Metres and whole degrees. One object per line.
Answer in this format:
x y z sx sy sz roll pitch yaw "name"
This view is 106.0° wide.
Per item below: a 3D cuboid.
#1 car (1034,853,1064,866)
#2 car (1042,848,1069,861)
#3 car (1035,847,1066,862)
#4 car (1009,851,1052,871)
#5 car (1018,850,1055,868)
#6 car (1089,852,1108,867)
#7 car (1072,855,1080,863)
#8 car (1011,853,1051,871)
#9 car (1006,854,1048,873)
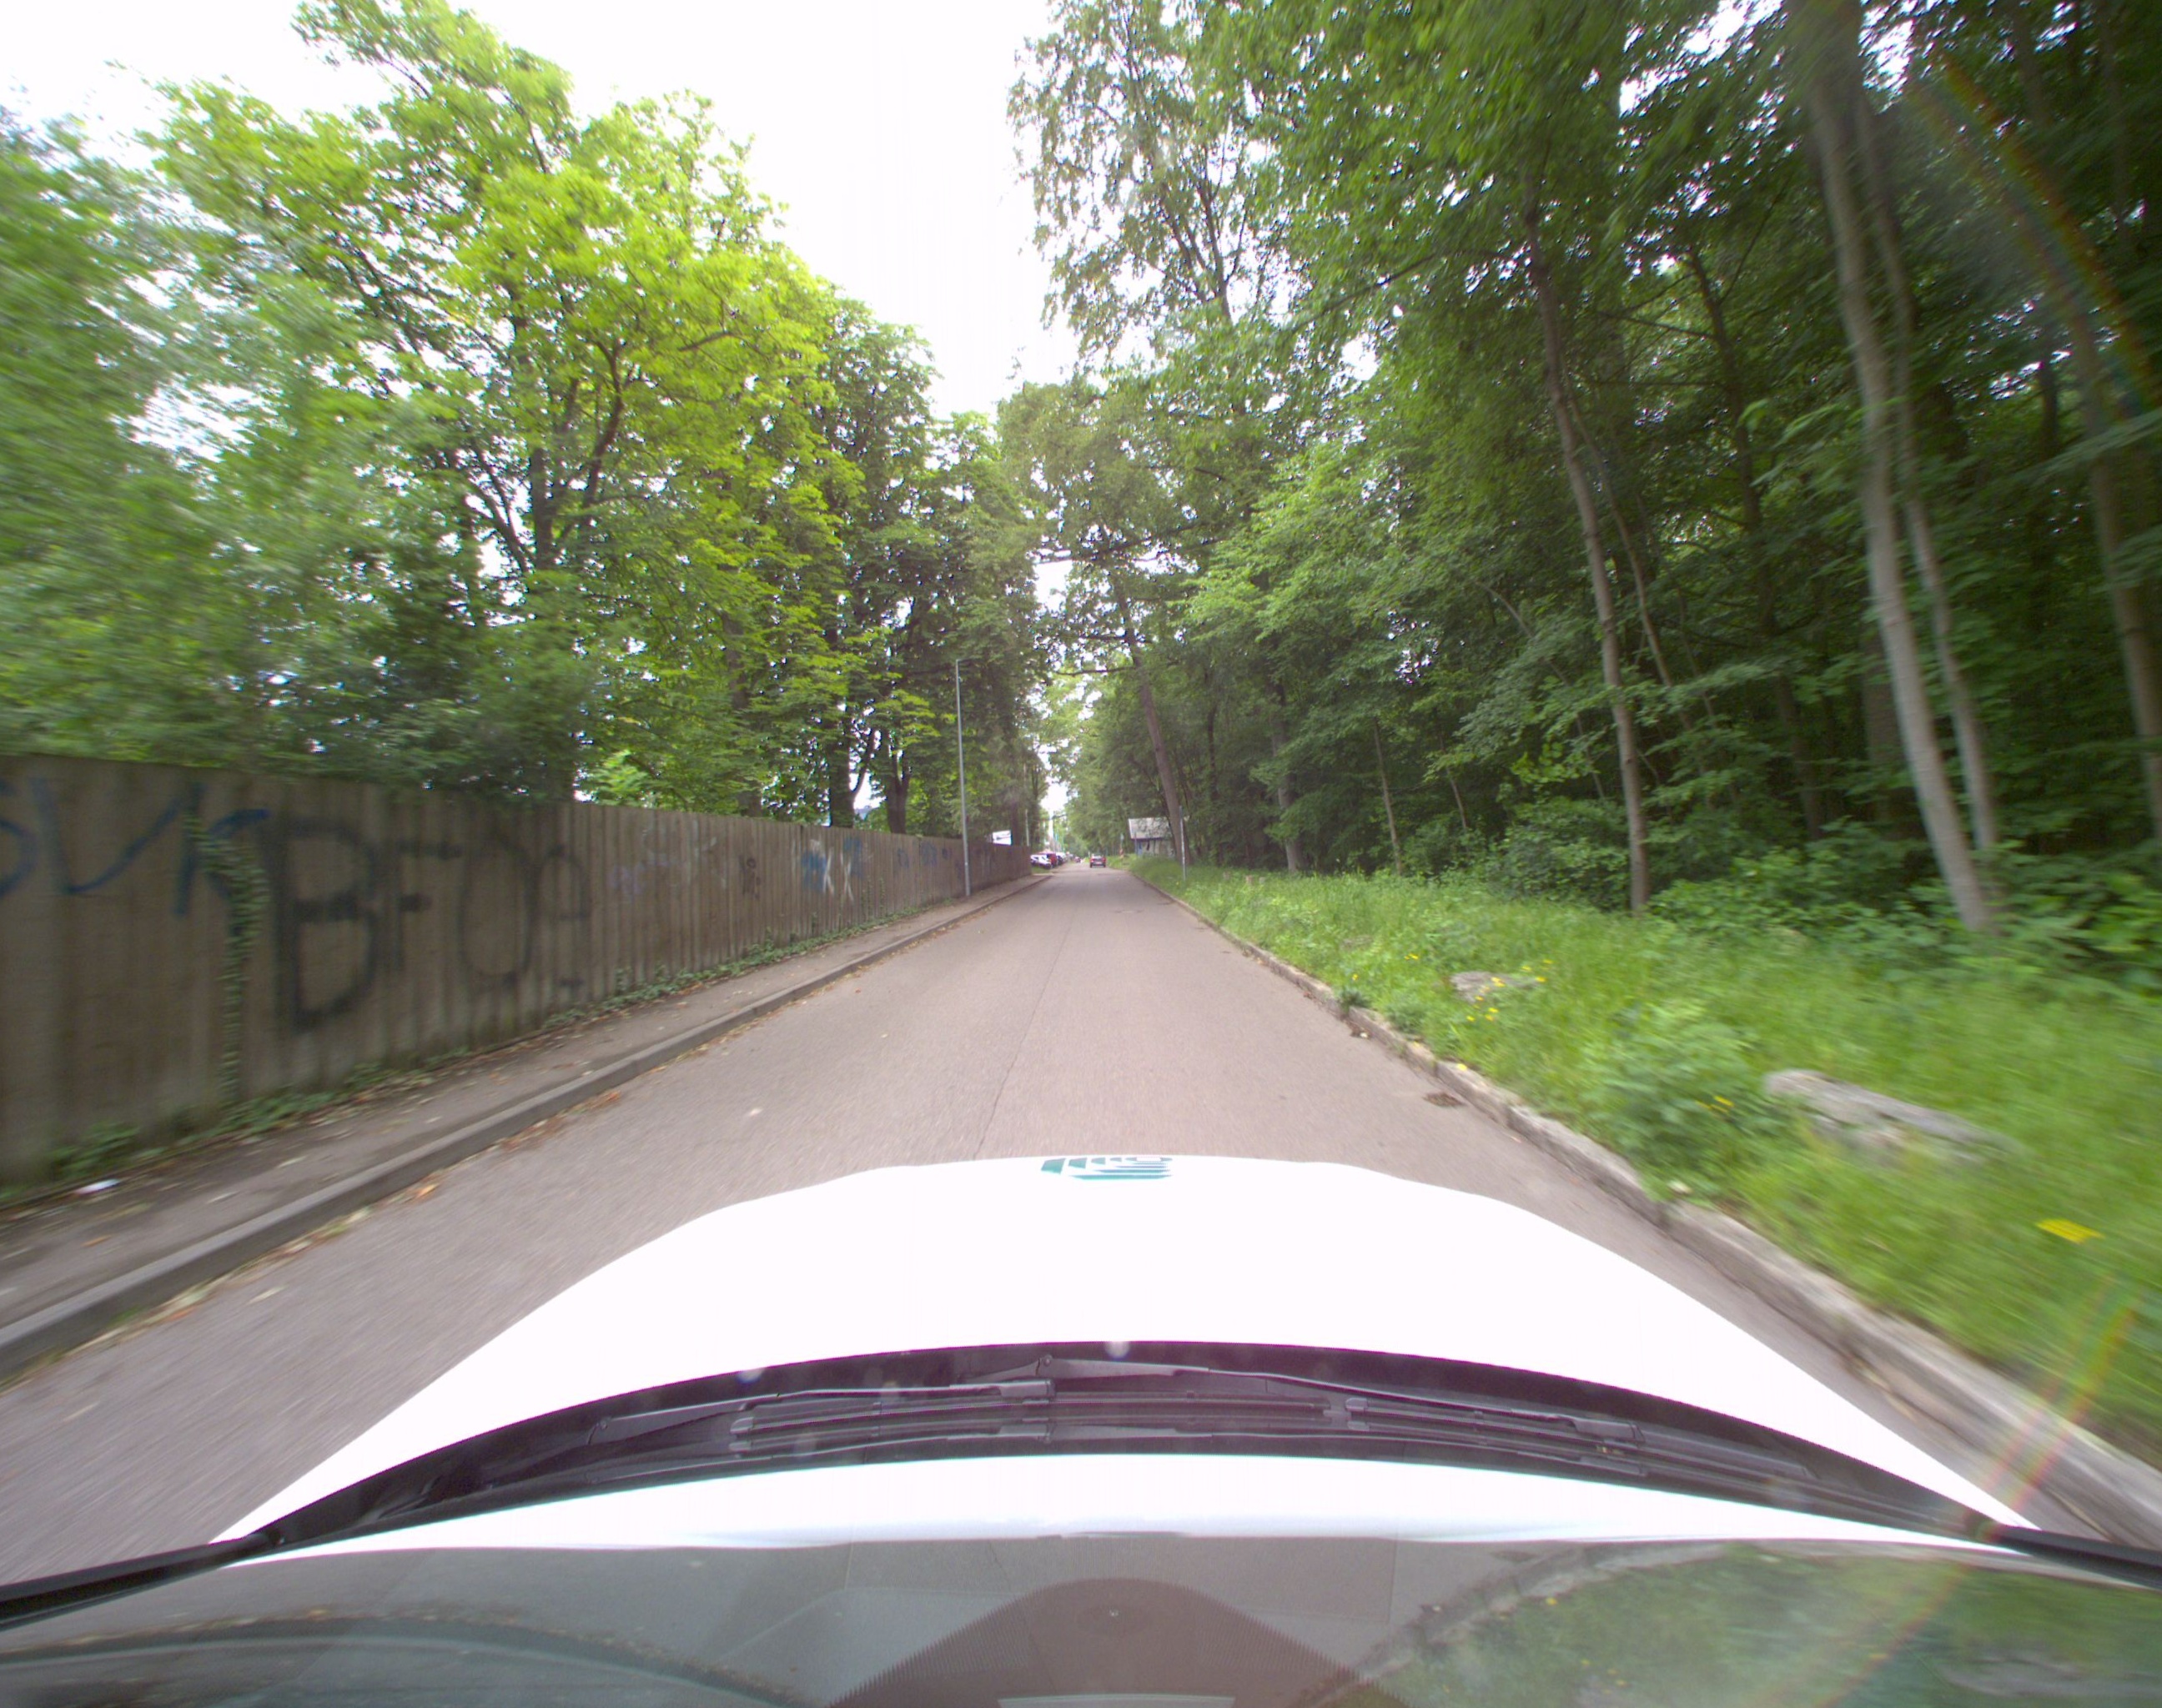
-3.888 0.709 99.325 3.560 1.407 1.650 -3 -1 0 "car"
-3.919 0.104 125.200 3.974 1.596 1.765 -5 -1 0 "car"
-4.096 0.075 108.906 3.974 1.596 1.765 -5 -1 0 "car"
-4.760 0.625 77.169 3.978 1.574 1.998 -4 0 -3 "car"
-4.946 0.517 90.344 3.977 1.750 1.999 -3 0 -2 "car"
1.801 0.617 85.076 1.900 1.508 4.002 -1 0 2 "car"
-1.436 1.477 227.368 1.990 2.013 3.993 -3 0 -5 "car"
-5.199 0.848 85.127 3.978 1.574 1.998 -4 0 -3 "car"
-5.271 0.894 79.501 3.978 1.574 1.998 -3 0 -3 "car"
